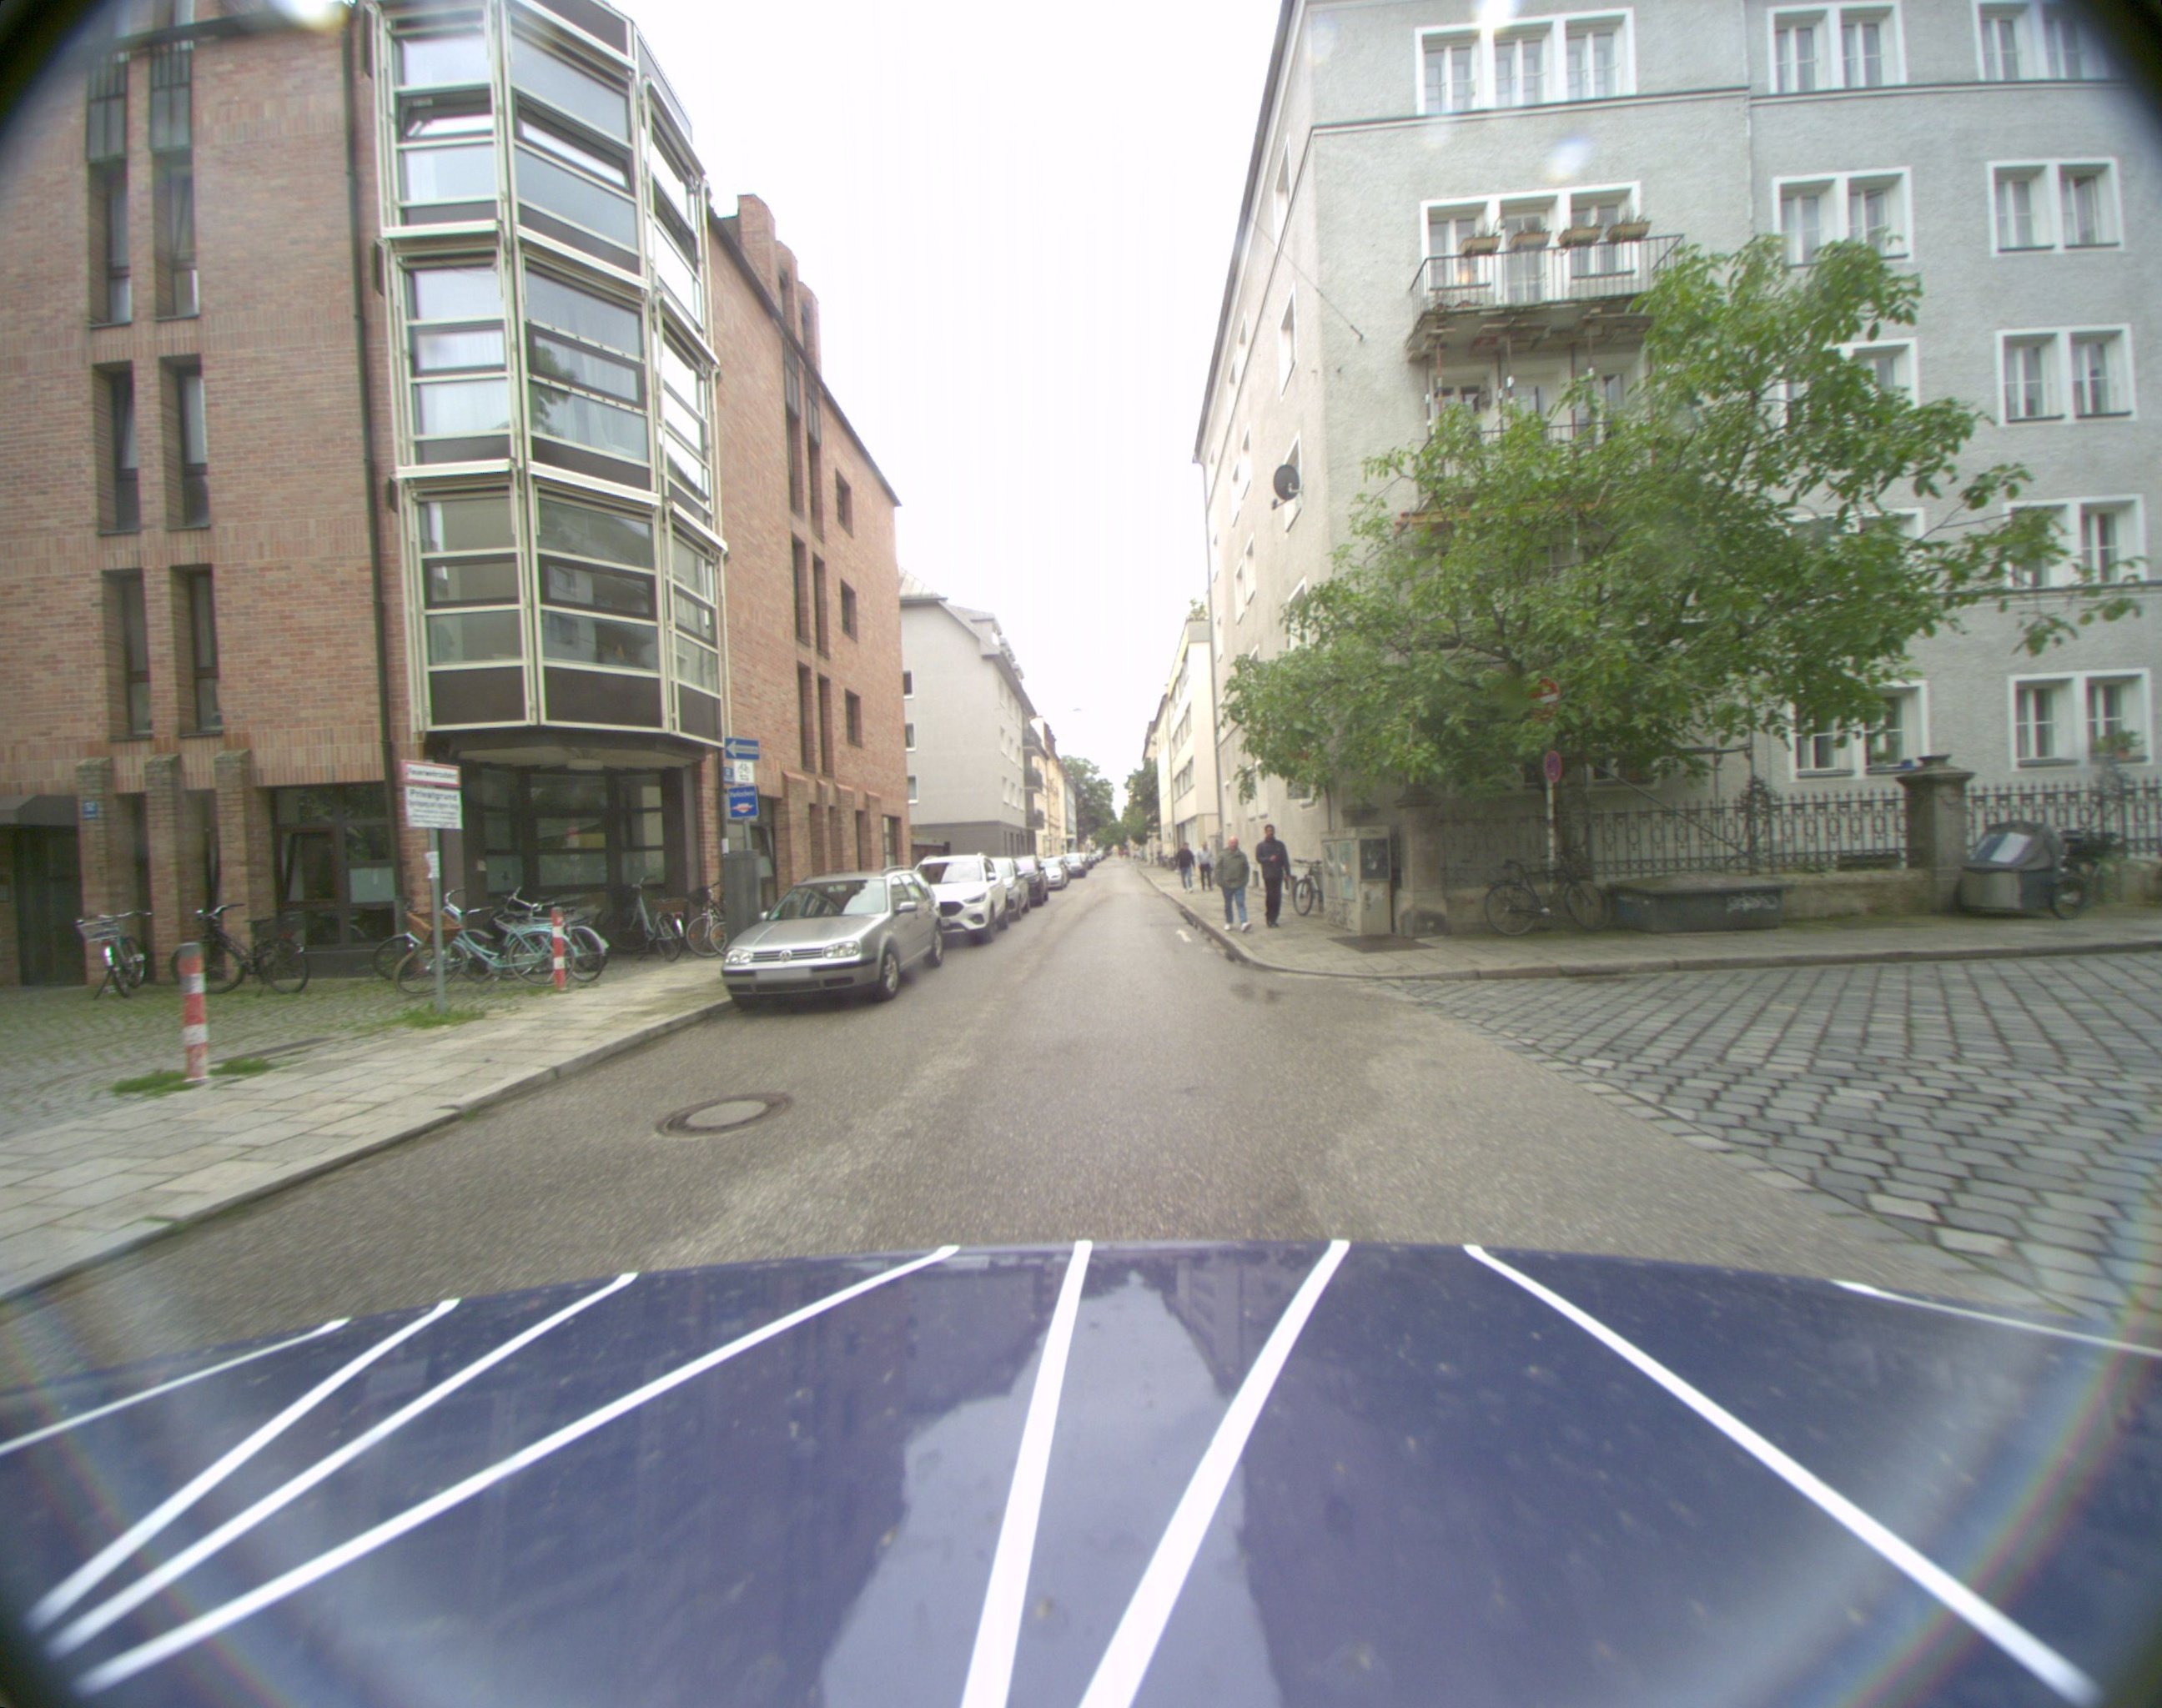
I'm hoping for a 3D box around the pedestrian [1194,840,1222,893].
[{"bbox_3d":[4.348,0.420,26.104,0.695,1.718,0.841,-6,1,3],"label":"pedestrian"}]

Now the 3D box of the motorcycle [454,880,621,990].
[{"bbox_3d":[-7.231,1.056,10.158,1.765,1.376,0.552,-1,1,-3],"label":"motorcycle"}]

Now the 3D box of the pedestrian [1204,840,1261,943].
[{"bbox_3d":[2.576,0.618,13.013,0.691,1.668,0.859,-5,1,1],"label":"pedestrian"}]

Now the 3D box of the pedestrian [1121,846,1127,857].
[{"bbox_3d":[8.543,-0.533,149.591,0.860,2.002,0.787,-3,1,26],"label":"pedestrian"}]

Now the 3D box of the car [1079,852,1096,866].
[{"bbox_3d":[0.649,0.496,74.652,1.525,1.259,3.211,-3,0,3],"label":"car"}]

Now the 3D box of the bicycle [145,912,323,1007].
[{"bbox_3d":[-10.261,1.280,9.211,1.884,1.066,0.443,-2,1,9],"label":"bicycle"}]

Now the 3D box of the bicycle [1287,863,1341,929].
[{"bbox_3d":[4.263,0.736,13.998,0.431,1.088,1.703,-4,0,1],"label":"bicycle"}]

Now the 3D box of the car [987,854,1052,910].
[{"bbox_3d":[-1.932,0.845,24.765,1.619,1.570,4.051,-3,0,1],"label":"car"}]

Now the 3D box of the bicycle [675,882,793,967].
[{"bbox_3d":[-5.722,1.122,12.660,0.741,1.210,1.782,-1,1,17],"label":"bicycle"}]

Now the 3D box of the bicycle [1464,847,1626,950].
[{"bbox_3d":[6.077,0.574,9.987,1.811,1.253,0.432,-2,1,2],"label":"bicycle"}]

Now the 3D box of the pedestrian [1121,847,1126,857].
[{"bbox_3d":[8.339,-0.432,148.946,0.696,1.834,0.692,-3,1,21],"label":"pedestrian"}]

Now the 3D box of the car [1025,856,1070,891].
[{"bbox_3d":[-1.463,0.860,34.629,1.619,1.369,3.818,-3,0,3],"label":"car"}]

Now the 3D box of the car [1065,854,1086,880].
[{"bbox_3d":[-0.291,0.742,45.064,1.043,1.429,2.251,-3,1,3],"label":"car"}]

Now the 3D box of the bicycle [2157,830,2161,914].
[{"bbox_3d":[14.884,0.204,9.572,1.852,1.097,0.412,-2,1,6],"label":"bicycle"}]

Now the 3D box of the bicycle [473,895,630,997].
[{"bbox_3d":[-6.557,1.116,9.419,1.752,1.180,0.443,0,1,9],"label":"bicycle"}]

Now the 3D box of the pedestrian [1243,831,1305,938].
[{"bbox_3d":[3.340,0.514,13.210,0.691,1.753,0.741,-5,1,-7],"label":"pedestrian"}]

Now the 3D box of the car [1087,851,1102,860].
[{"bbox_3d":[2.069,0.218,113.170,1.998,1.259,4.000,-3,0,3],"label":"car"}]

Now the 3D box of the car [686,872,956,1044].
[{"bbox_3d":[-2.864,1.061,9.516,1.725,1.427,4.359,-3,0,1],"label":"car"}]

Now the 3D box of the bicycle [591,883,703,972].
[{"bbox_3d":[-6.605,1.076,11.533,1.872,1.222,0.594,-1,2,32],"label":"bicycle"}]

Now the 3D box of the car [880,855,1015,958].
[{"bbox_3d":[-2.452,0.891,15.071,1.725,1.606,4.454,-3,0,1],"label":"car"}]

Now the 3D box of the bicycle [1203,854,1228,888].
[{"bbox_3d":[4.983,0.610,28.242,0.450,1.187,1.499,-4,1,-7],"label":"bicycle"}]

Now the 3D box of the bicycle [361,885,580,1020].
[{"bbox_3d":[-6.912,1.081,8.720,1.807,1.315,0.586,-3,2,-23],"label":"bicycle"}]

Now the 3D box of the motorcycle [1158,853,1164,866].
[{"bbox_3d":[6.456,0.459,61.242,0.324,0.968,1.961,-3,0,3],"label":"motorcycle"}]

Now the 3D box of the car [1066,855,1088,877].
[{"bbox_3d":[-0.222,0.758,48.953,1.190,1.312,2.780,-3,0,3],"label":"car"}]

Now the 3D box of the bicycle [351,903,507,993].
[{"bbox_3d":[-8.326,1.199,9.717,1.752,1.066,0.443,-2,1,9],"label":"bicycle"}]

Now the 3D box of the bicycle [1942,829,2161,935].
[{"bbox_3d":[12.223,0.310,9.397,2.488,1.149,0.991,-2,1,-12],"label":"bicycle"}]

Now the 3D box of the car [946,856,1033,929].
[{"bbox_3d":[-2.239,0.899,19.497,1.619,1.548,3.807,-3,0,1],"label":"car"}]

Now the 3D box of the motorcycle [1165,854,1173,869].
[{"bbox_3d":[5.972,0.479,51.656,0.324,0.968,1.961,-3,0,3],"label":"motorcycle"}]

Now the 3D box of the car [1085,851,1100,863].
[{"bbox_3d":[1.450,0.353,94.990,1.556,1.280,3.538,-3,0,3],"label":"car"}]

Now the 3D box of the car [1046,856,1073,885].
[{"bbox_3d":[-1.113,0.832,39.924,1.154,1.367,2.685,-3,0,3],"label":"car"}]

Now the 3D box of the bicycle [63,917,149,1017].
[{"bbox_3d":[-12.166,1.374,9.510,0.443,1.066,1.422,-3,1,-45],"label":"bicycle"}]

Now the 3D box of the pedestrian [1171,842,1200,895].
[{"bbox_3d":[3.586,0.490,26.147,0.721,1.718,0.841,-6,1,3],"label":"pedestrian"}]
